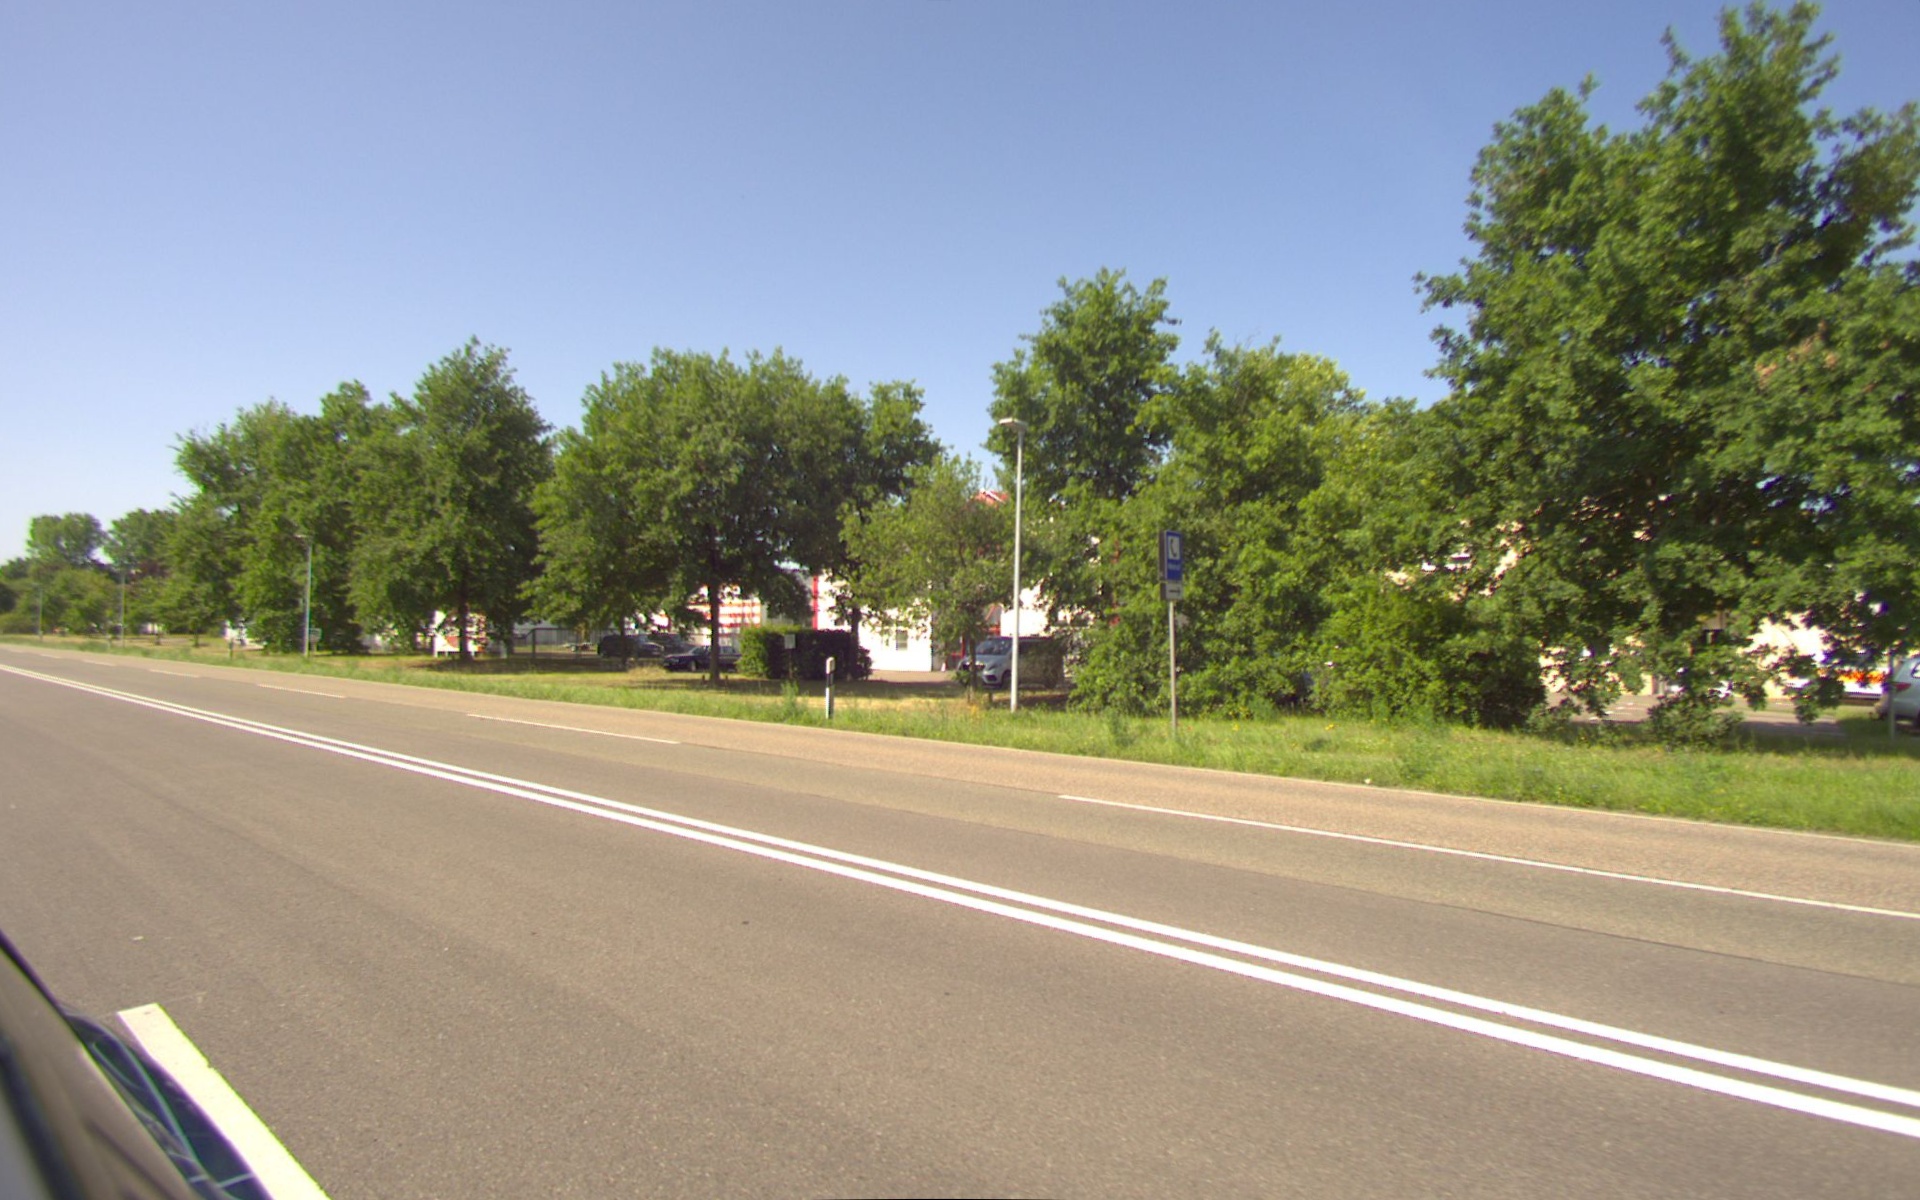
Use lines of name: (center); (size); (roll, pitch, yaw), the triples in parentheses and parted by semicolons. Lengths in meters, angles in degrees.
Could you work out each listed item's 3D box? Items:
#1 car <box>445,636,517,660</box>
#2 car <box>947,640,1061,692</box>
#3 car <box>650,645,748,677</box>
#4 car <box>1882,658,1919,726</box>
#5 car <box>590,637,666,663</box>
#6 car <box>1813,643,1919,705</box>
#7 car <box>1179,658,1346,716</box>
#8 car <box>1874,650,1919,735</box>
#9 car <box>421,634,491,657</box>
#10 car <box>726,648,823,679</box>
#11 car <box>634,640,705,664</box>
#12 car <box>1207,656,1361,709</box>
car: (-31.812, 3.168, 67.220); (1.756, 1.512, 3.946); (-1, -3, 40)
car: (1.650, 2.393, 36.637); (1.999, 1.744, 4.179); (-1, -4, 40)
car: (-12.658, 3.000, 49.241); (1.856, 1.335, 4.305); (0, -5, 40)
car: (22.527, 2.003, 21.509); (4.188, 1.404, 1.909); (-1, -2, 40)
car: (-18.795, 2.830, 57.197); (4.657, 1.360, 1.769); (-1, -3, 39)
car: (26.778, 2.073, 28.497); (4.166, 1.670, 1.837); (-1, -2, 41)
car: (8.085, 2.278, 27.268); (3.998, 1.360, 1.654); (-1, -3, 41)
car: (20.879, 1.857, 19.886); (4.188, 1.664, 1.909); (-1, -2, 40)
car: (-34.830, 3.145, 69.987); (1.756, 1.512, 3.946); (-1, -3, 40)
car: (-8.225, 2.835, 45.107); (1.862, 1.316, 3.944); (-2, -4, 41)
car: (-17.633, 3.136, 61.327); (4.657, 1.360, 1.769); (-1, -3, 39)
car: (9.429, 2.362, 29.609); (3.998, 1.360, 1.654); (-1, -3, 41)
